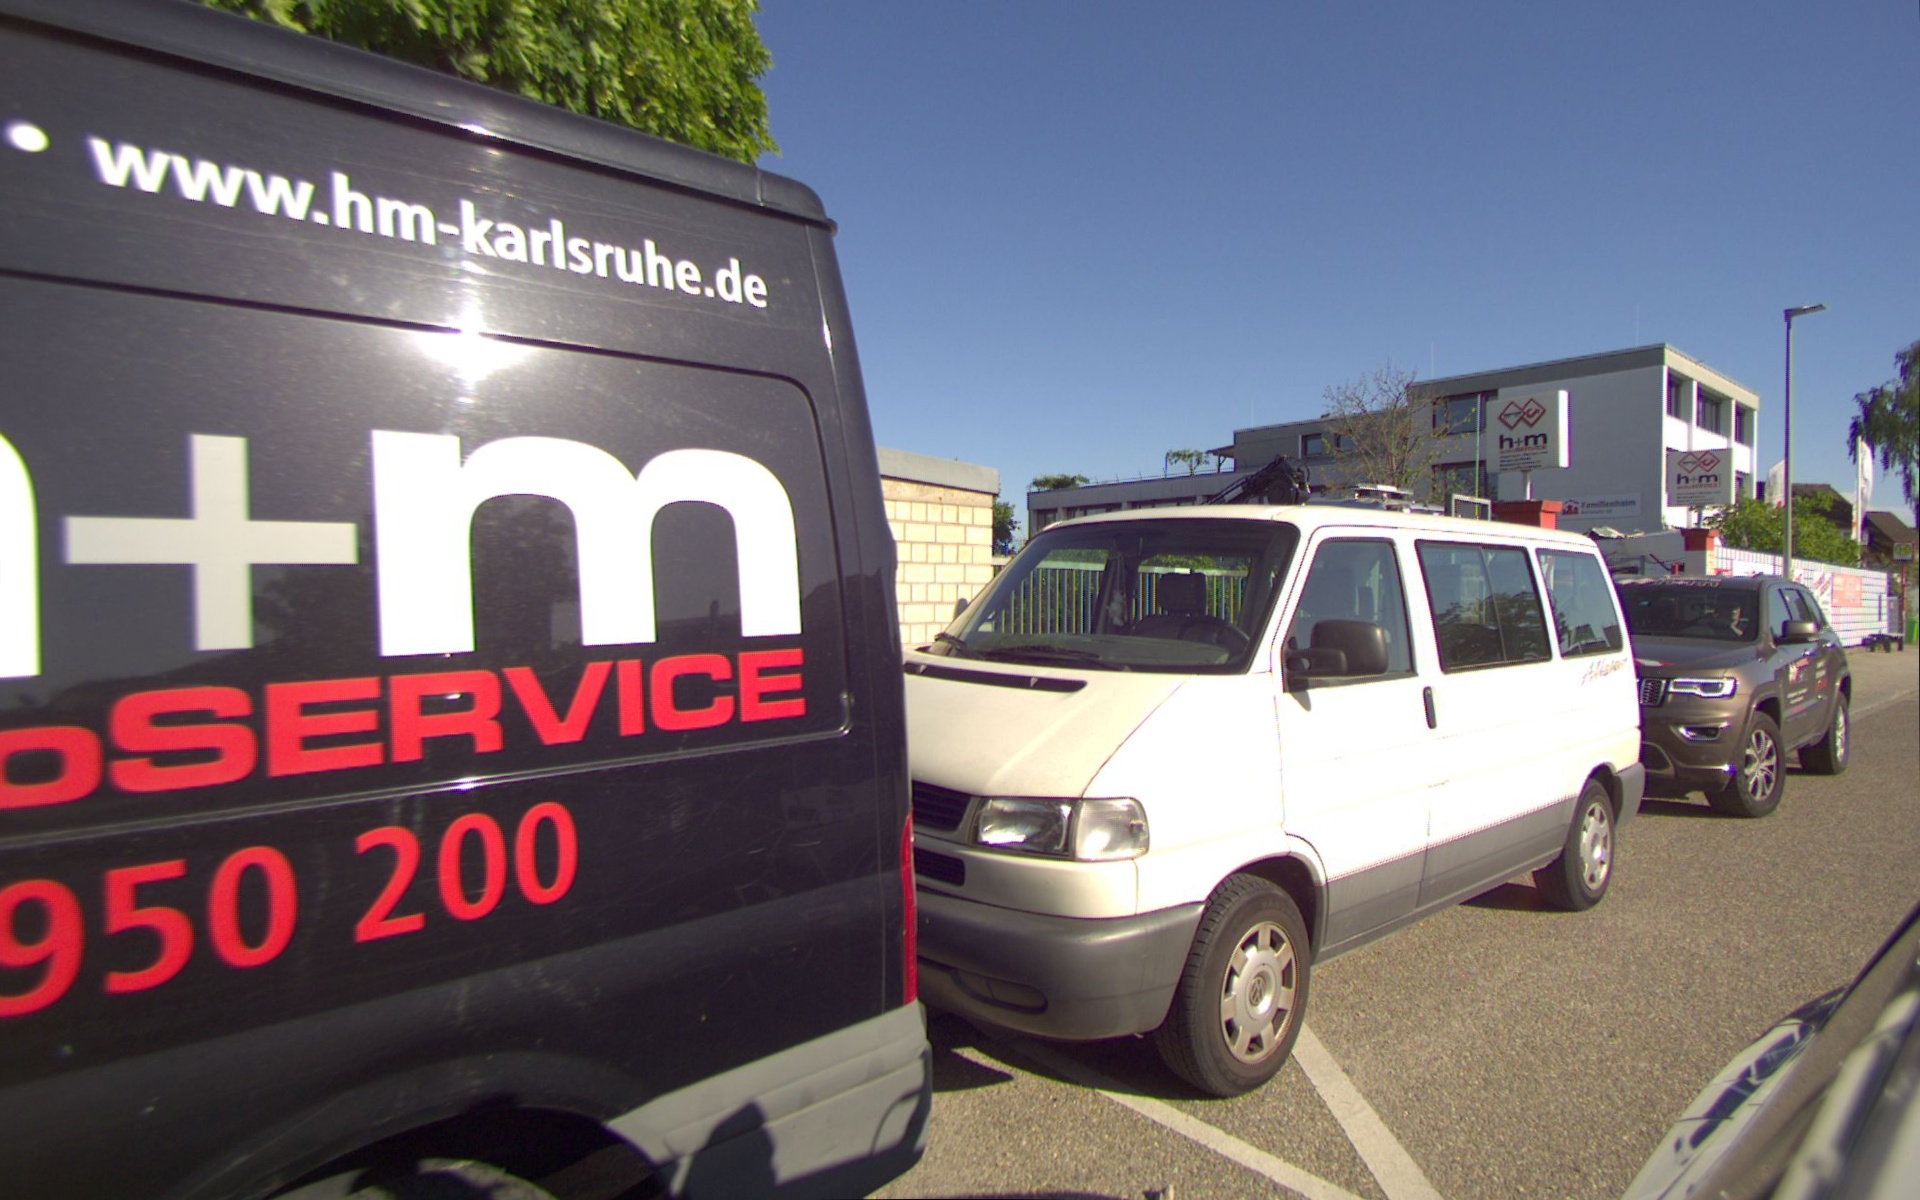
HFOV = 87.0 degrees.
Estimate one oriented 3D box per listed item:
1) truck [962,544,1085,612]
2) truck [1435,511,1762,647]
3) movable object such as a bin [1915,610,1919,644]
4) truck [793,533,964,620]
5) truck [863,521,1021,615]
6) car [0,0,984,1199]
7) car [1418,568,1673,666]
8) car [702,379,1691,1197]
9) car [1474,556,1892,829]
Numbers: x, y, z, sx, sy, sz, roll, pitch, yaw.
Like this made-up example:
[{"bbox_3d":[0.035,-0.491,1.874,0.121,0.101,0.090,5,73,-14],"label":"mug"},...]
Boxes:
[{"bbox_3d":[2.996,-0.984,49.418,2.691,3.090,6.010,-1,-1,-38],"label":"truck"},{"bbox_3d":[15.086,-0.504,24.399,2.335,2.852,6.244,0,1,-36],"label":"truck"},{"bbox_3d":[27.226,0.763,28.484,0.556,0.968,0.383,0,1,-36],"label":"movable object such as a bin"},{"bbox_3d":[-3.149,-0.853,37.170,2.562,2.903,7.163,1,1,-40],"label":"truck"},{"bbox_3d":[-0.832,-1.130,39.698,2.564,3.386,6.490,0,-1,-42],"label":"truck"},{"bbox_3d":[-2.515,0.322,1.037,5.053,2.288,1.896,0,1,-39],"label":"car"},{"bbox_3d":[12.206,0.266,21.458,1.935,1.763,4.315,0,3,-24],"label":"car"},{"bbox_3d":[1.477,0.430,4.681,4.832,1.950,1.896,0,1,-39],"label":"car"},{"bbox_3d":[6.475,0.583,8.817,4.825,1.766,1.805,-1,-1,-40],"label":"car"}]
